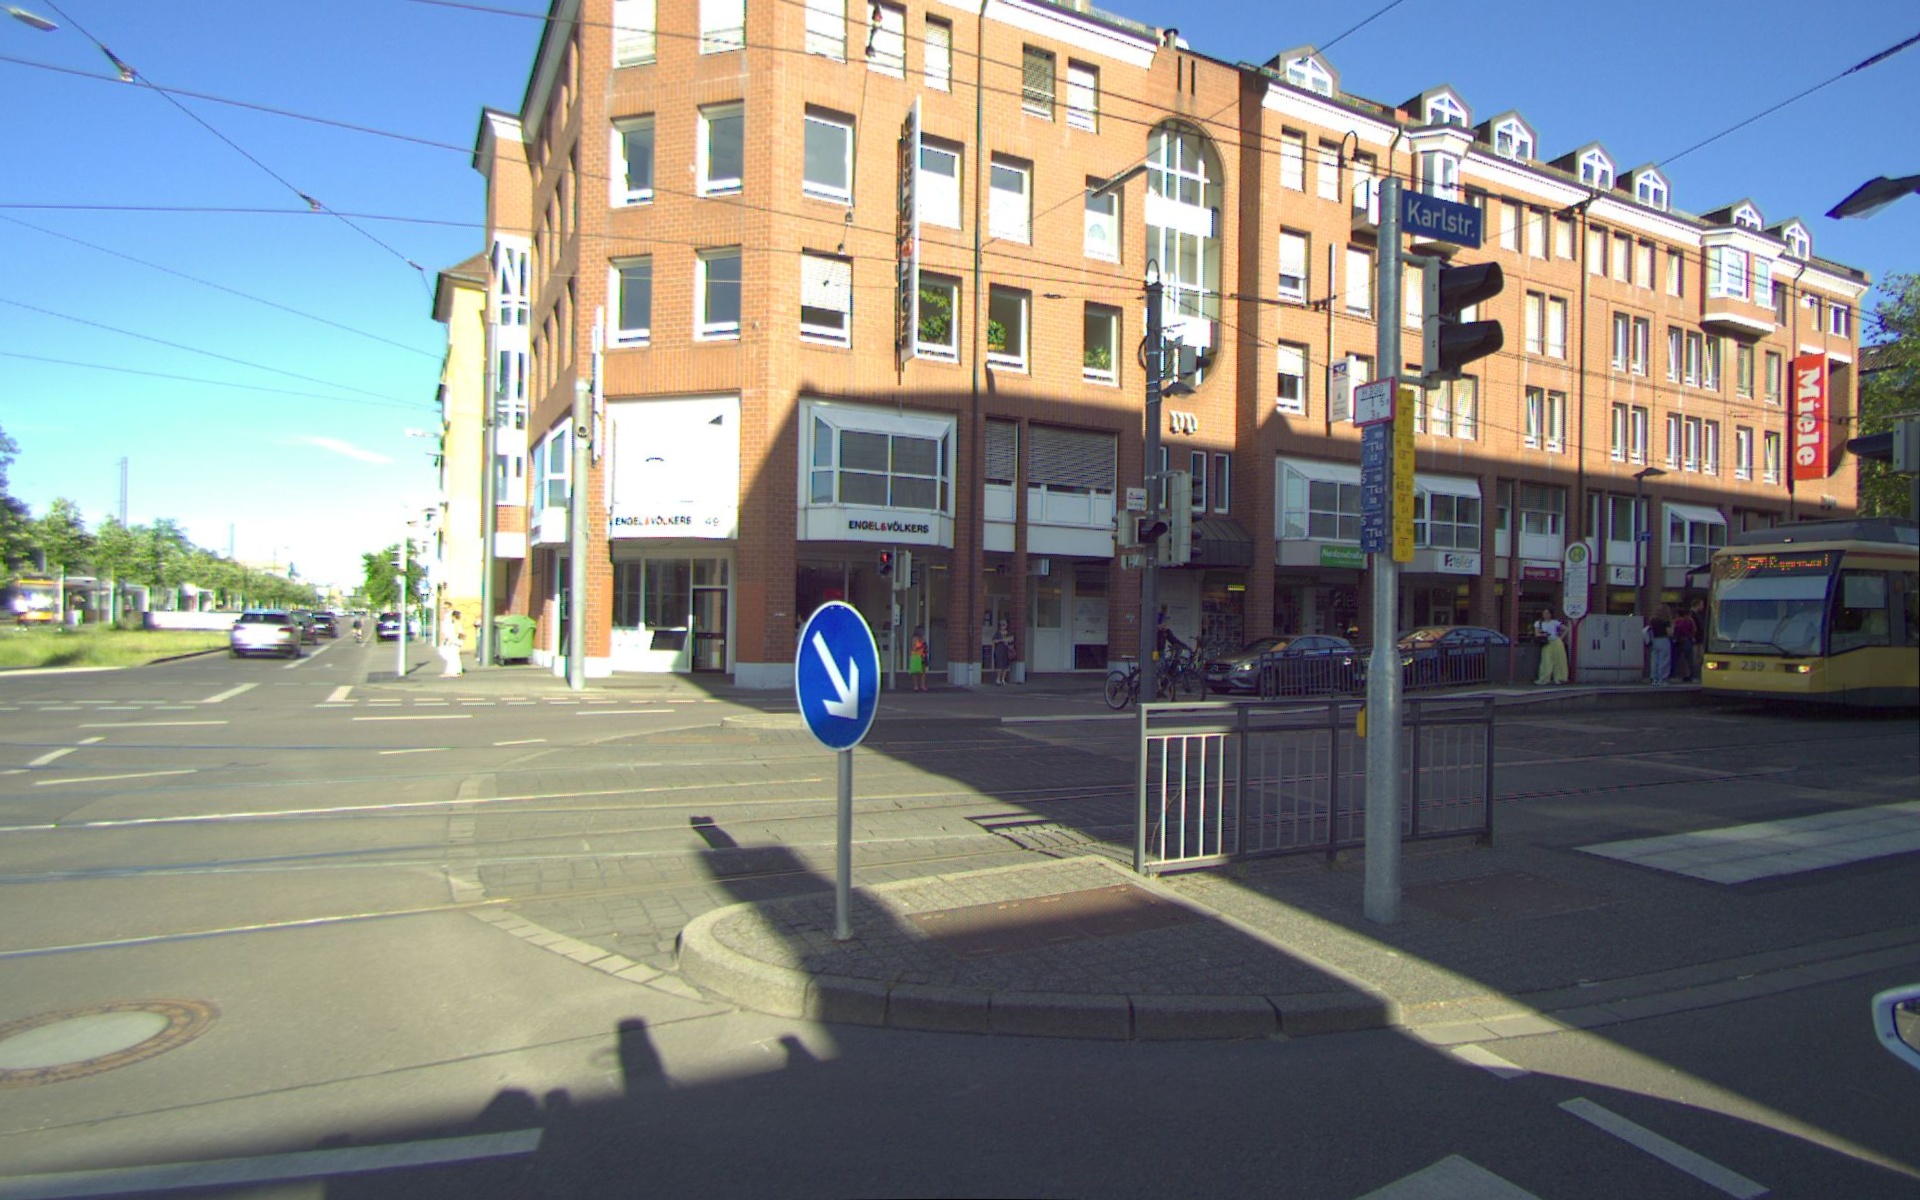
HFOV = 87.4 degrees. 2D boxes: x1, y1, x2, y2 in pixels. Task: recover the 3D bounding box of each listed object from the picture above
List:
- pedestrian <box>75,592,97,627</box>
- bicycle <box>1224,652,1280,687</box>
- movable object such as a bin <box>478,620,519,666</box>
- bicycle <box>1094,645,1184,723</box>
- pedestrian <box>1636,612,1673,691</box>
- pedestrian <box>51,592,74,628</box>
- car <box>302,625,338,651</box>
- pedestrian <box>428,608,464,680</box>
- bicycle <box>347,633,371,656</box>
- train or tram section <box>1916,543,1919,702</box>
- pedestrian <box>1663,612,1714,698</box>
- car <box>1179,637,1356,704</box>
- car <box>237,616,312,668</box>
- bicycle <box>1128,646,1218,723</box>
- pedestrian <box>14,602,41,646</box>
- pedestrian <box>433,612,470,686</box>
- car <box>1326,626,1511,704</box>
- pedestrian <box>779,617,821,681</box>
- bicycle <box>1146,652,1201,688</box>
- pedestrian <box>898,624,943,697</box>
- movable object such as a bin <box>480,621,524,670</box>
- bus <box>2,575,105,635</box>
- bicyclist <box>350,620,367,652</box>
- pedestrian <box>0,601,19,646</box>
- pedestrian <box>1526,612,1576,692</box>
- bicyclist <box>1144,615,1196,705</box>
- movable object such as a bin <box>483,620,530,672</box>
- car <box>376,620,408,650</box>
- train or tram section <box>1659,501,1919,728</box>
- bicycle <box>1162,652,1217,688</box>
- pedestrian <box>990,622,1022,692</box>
[{"bbox_3d":[-50.925,0.562,58.537,0.916,2.037,1.000,2,-1,-39],"label":"pedestrian"},{"bbox_3d":[8.398,1.982,28.901,0.514,0.912,1.704,1,-1,-27],"label":"bicycle"},{"bbox_3d":[-15.163,1.409,33.019,1.084,1.455,0.990,2,-1,-33],"label":"movable object such as a bin"},{"bbox_3d":[2.961,1.367,16.758,0.486,1.173,1.702,1,-1,-30],"label":"bicycle"},{"bbox_3d":[14.126,1.036,20.429,0.576,1.551,0.634,1,-1,39],"label":"pedestrian"},{"bbox_3d":[-51.760,0.564,57.929,0.916,2.037,1.000,2,-1,-39],"label":"pedestrian"},{"bbox_3d":[-41.981,2.471,65.965,1.709,1.572,3.448,2,-1,-28],"label":"car"},{"bbox_3d":[-12.725,1.081,24.866,0.704,1.750,0.684,1,-1,-33],"label":"pedestrian"},{"bbox_3d":[-34.239,2.520,57.264,0.618,1.239,2.034,1,-1,-16],"label":"bicycle"},{"bbox_3d":[26.739,0.625,23.811,10.036,3.593,2.704,2,-1,-27],"label":"train or tram section"},{"bbox_3d":[14.956,1.117,20.622,0.624,1.744,0.586,1,-1,5],"label":"pedestrian"},{"bbox_3d":[7.327,1.634,23.884,3.929,1.473,1.810,2,-3,-29],"label":"car"},{"bbox_3d":[-23.434,1.413,34.456,1.824,1.656,3.458,2,-1,-30],"label":"car"},{"bbox_3d":[3.567,1.397,16.976,0.486,1.173,1.669,1,-1,-30],"label":"bicycle"},{"bbox_3d":[-43.490,1.106,46.853,0.796,2.037,0.798,2,-1,-39],"label":"pedestrian"},{"bbox_3d":[-12.295,1.179,24.272,0.704,1.750,0.684,1,-1,-33],"label":"pedestrian"},{"bbox_3d":[10.028,1.395,21.940,3.745,1.564,1.810,2,-3,-29],"label":"car"},{"bbox_3d":[-4.112,1.244,25.873,0.846,1.589,0.887,1,-1,4],"label":"pedestrian"},{"bbox_3d":[5.828,1.900,27.498,0.514,0.912,1.704,1,-1,-27],"label":"bicycle"},{"bbox_3d":[-0.919,1.395,23.333,0.766,1.616,0.709,1,2,-26],"label":"pedestrian"},{"bbox_3d":[-14.132,1.405,30.995,1.084,1.455,0.990,2,-1,-33],"label":"movable object such as a bin"},{"bbox_3d":[-58.885,0.368,65.532,2.916,3.611,9.355,2,-1,-29],"label":"bus"},{"bbox_3d":[-34.213,2.071,57.166,0.604,1.795,0.827,1,-1,-17],"label":"bicyclist"},{"bbox_3d":[-44.270,1.088,46.535,0.794,2.037,0.799,2,-1,-35],"label":"pedestrian"},{"bbox_3d":[11.959,1.044,20.337,0.576,1.584,0.635,1,-1,-16],"label":"pedestrian"},{"bbox_3d":[3.552,0.998,17.008,0.478,1.490,0.713,1,-1,-30],"label":"bicyclist"},{"bbox_3d":[-13.132,1.317,29.103,1.084,1.455,0.990,2,-1,-33],"label":"movable object such as a bin"},{"bbox_3d":[-33.413,2.038,59.076,1.545,1.639,3.292,2,-1,-30],"label":"car"},{"bbox_3d":[17.814,0.371,19.324,9.954,3.589,2.720,2,-1,-26],"label":"train or tram section"},{"bbox_3d":[6.356,1.923,27.850,0.514,0.912,1.704,1,-1,-27],"label":"bicycle"},{"bbox_3d":[1.140,1.411,24.998,0.545,1.693,0.618,1,-1,-30],"label":"pedestrian"}]
